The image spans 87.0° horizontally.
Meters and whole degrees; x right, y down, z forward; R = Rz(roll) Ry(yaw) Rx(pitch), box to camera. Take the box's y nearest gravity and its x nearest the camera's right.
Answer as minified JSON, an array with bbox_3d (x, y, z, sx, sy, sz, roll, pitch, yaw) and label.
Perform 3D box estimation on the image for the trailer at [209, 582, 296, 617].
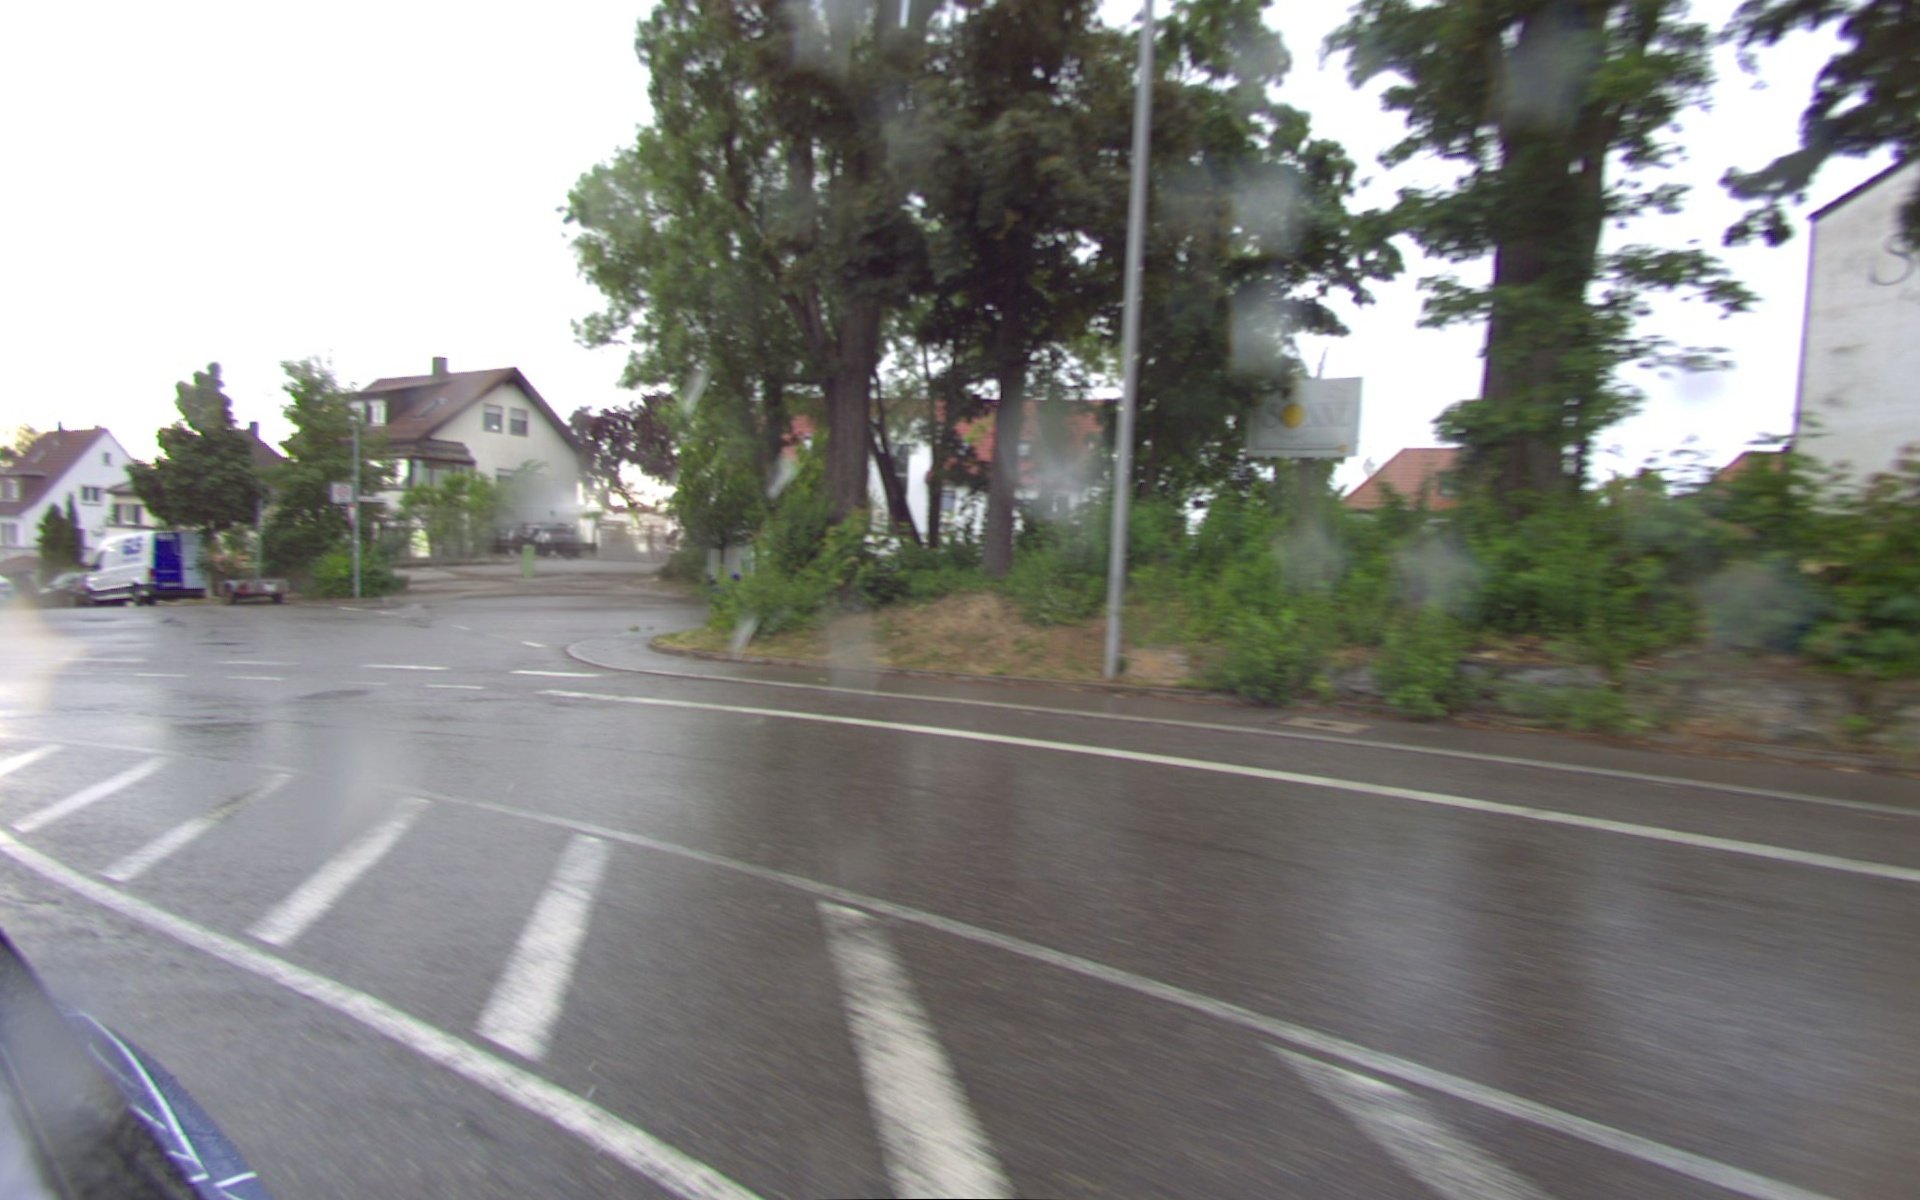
[{"bbox_3d":[-22.994,-0.044,32.880,2.820,1.014,1.573,1,4,39],"label":"trailer"}]

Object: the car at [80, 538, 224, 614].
[{"bbox_3d":[-29.221,-0.917,36.521,6.236,2.542,2.167,1,3,33],"label":"car"}]

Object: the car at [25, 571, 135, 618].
[{"bbox_3d":[-35.089,-0.270,40.334,4.780,1.718,2.045,1,3,33],"label":"car"}]

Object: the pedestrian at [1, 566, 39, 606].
[{"bbox_3d":[-36.430,-0.551,39.217,0.974,1.521,0.816,1,3,33],"label":"pedestrian"}]

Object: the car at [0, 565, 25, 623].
[{"bbox_3d":[-30.543,-0.205,30.929,4.786,1.718,2.042,2,3,37],"label":"car"}]

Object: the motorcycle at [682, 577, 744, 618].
[{"bbox_3d":[-8.513,-0.095,34.921,2.013,1.332,0.710,-1,3,-8],"label":"motorcycle"}]
